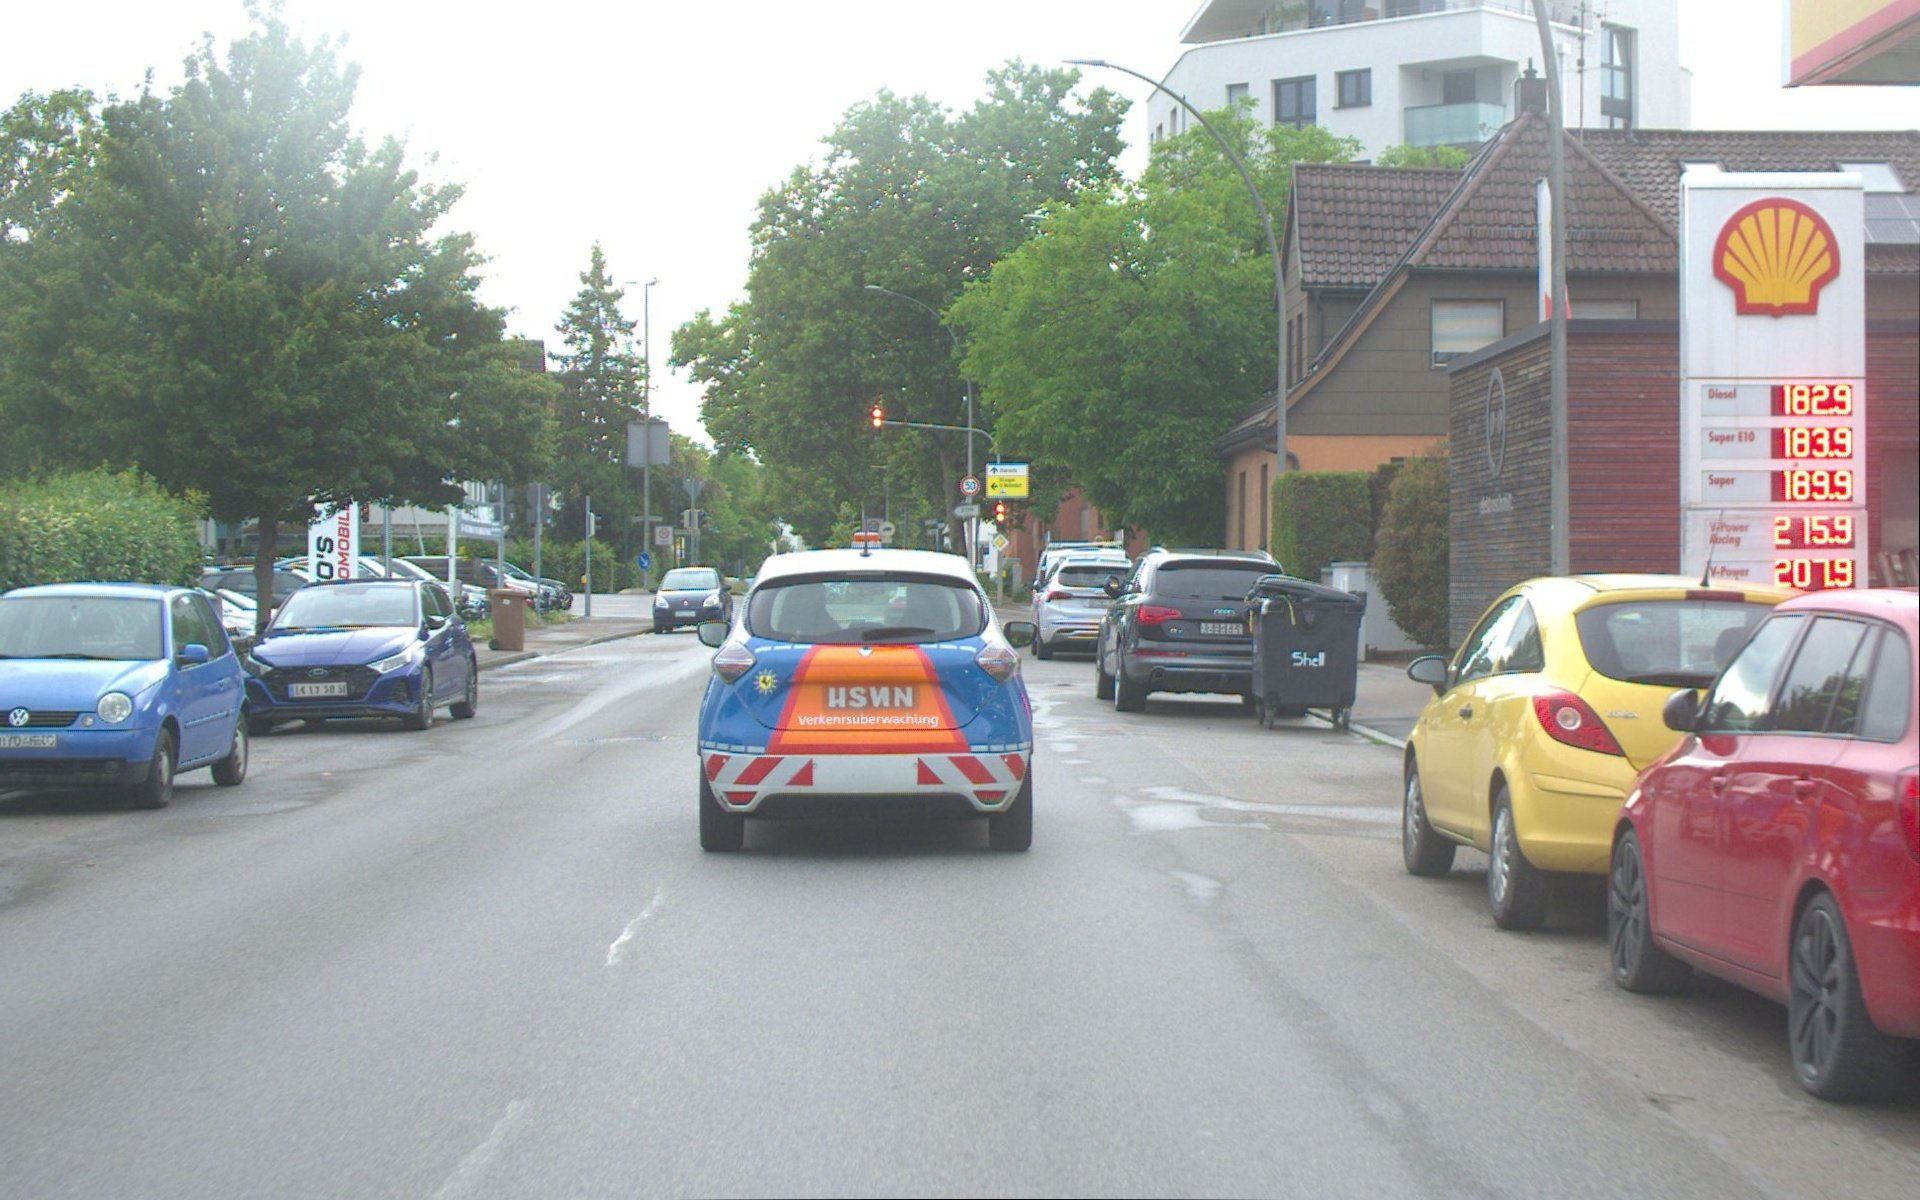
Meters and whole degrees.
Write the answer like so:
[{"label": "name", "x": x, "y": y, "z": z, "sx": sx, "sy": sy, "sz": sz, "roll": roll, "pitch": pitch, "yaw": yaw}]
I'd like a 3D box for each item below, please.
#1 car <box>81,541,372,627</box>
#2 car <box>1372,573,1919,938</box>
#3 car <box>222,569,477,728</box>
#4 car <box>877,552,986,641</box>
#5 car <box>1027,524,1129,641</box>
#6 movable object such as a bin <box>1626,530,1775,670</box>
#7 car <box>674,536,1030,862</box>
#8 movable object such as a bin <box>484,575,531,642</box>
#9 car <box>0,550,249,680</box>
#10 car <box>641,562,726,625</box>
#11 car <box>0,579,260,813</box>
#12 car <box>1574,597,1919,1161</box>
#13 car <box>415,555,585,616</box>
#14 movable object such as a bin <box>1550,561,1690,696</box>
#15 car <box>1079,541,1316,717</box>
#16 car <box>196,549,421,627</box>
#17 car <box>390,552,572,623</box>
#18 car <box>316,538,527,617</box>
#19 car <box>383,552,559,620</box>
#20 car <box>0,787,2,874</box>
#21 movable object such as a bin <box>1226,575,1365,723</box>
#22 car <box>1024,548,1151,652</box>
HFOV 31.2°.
[{"label": "car", "x": -11.965, "y": -0.269, "z": 56.300, "sx": 4.376, "sy": 1.369, "sz": 1.889, "roll": 0, "pitch": 1, "yaw": -1}, {"label": "car", "x": 2.946, "y": 0.596, "z": 15.389, "sx": 1.656, "sy": 1.397, "sz": 3.802, "roll": 0, "pitch": 1, "yaw": -1}, {"label": "car", "x": -5.881, "y": 0.425, "z": 33.530, "sx": 1.806, "sy": 1.398, "sz": 3.945, "roll": -1, "pitch": 1, "yaw": -1}, {"label": "car", "x": -0.586, "y": -0.095, "z": 66.851, "sx": 1.993, "sy": 1.568, "sz": 4.001, "roll": 1, "pitch": 2, "yaw": -2}, {"label": "car", "x": 2.173, "y": -0.372, "z": 63.915, "sx": 1.778, "sy": 2.022, "sz": 4.754, "roll": 1, "pitch": 2, "yaw": 2}, {"label": "movable object such as a bin", "x": 7.190, "y": -0.013, "z": 33.442, "sx": 1.101, "sy": 1.335, "sz": 1.385, "roll": 0, "pitch": 1, "yaw": -3}, {"label": "car", "x": -0.566, "y": 0.449, "z": 18.937, "sx": 1.745, "sy": 1.575, "sz": 4.000, "roll": 0, "pitch": 1, "yaw": -1}, {"label": "movable object such as a bin", "x": -7.756, "y": 0.149, "z": 58.986, "sx": 0.708, "sy": 1.126, "sz": 0.735, "roll": 1, "pitch": 1, "yaw": 0}, {"label": "car", "x": -12.365, "y": 0.194, "z": 48.064, "sx": 4.556, "sy": 1.784, "sz": 1.898, "roll": 0, "pitch": 1, "yaw": -5}, {"label": "car", "x": -6.388, "y": -0.168, "z": 79.738, "sx": 1.626, "sy": 1.428, "sz": 3.683, "roll": 0, "pitch": 1, "yaw": 1}, {"label": "car", "x": -5.845, "y": 0.593, "z": 23.132, "sx": 1.545, "sy": 1.398, "sz": 3.597, "roll": -1, "pitch": 1, "yaw": -1}, {"label": "car", "x": 3.156, "y": 0.710, "z": 10.739, "sx": 1.656, "sy": 1.372, "sz": 4.025, "roll": 0, "pitch": 1, "yaw": -1}, {"label": "car", "x": -11.569, "y": -0.376, "z": 86.567, "sx": 3.987, "sy": 1.436, "sz": 1.803, "roll": 1, "pitch": 1, "yaw": 2}, {"label": "movable object such as a bin", "x": 6.716, "y": 0.279, "z": 35.044, "sx": 1.101, "sy": 1.335, "sz": 1.385, "roll": 0, "pitch": 1, "yaw": -3}, {"label": "car", "x": 2.458, "y": 0.253, "z": 36.725, "sx": 2.091, "sy": 1.656, "sz": 4.559, "roll": 1, "pitch": 2, "yaw": -1}, {"label": "car", "x": -12.527, "y": -0.241, "z": 66.265, "sx": 3.987, "sy": 1.459, "sz": 1.839, "roll": 0, "pitch": 1, "yaw": 0}, {"label": "car", "x": -11.245, "y": -0.302, "z": 80.869, "sx": 3.987, "sy": 1.538, "sz": 1.803, "roll": 1, "pitch": 1, "yaw": 2}, {"label": "car", "x": -11.838, "y": -0.510, "z": 75.739, "sx": 4.347, "sy": 1.684, "sz": 1.959, "roll": 0, "pitch": 1, "yaw": 0}, {"label": "car", "x": -11.893, "y": -0.349, "z": 83.770, "sx": 3.987, "sy": 1.538, "sz": 1.803, "roll": 1, "pitch": 1, "yaw": 2}, {"label": "car", "x": -5.582, "y": 0.660, "z": 15.312, "sx": 1.608, "sy": 1.501, "sz": 3.707, "roll": -1, "pitch": 1, "yaw": -1}, {"label": "movable object such as a bin", "x": 3.231, "y": 0.458, "z": 33.246, "sx": 1.126, "sy": 1.383, "sz": 1.504, "roll": 0, "pitch": 1, "yaw": -3}, {"label": "car", "x": 2.099, "y": -0.034, "z": 57.789, "sx": 1.865, "sy": 1.659, "sz": 4.320, "roll": 1, "pitch": 1, "yaw": -1}]
